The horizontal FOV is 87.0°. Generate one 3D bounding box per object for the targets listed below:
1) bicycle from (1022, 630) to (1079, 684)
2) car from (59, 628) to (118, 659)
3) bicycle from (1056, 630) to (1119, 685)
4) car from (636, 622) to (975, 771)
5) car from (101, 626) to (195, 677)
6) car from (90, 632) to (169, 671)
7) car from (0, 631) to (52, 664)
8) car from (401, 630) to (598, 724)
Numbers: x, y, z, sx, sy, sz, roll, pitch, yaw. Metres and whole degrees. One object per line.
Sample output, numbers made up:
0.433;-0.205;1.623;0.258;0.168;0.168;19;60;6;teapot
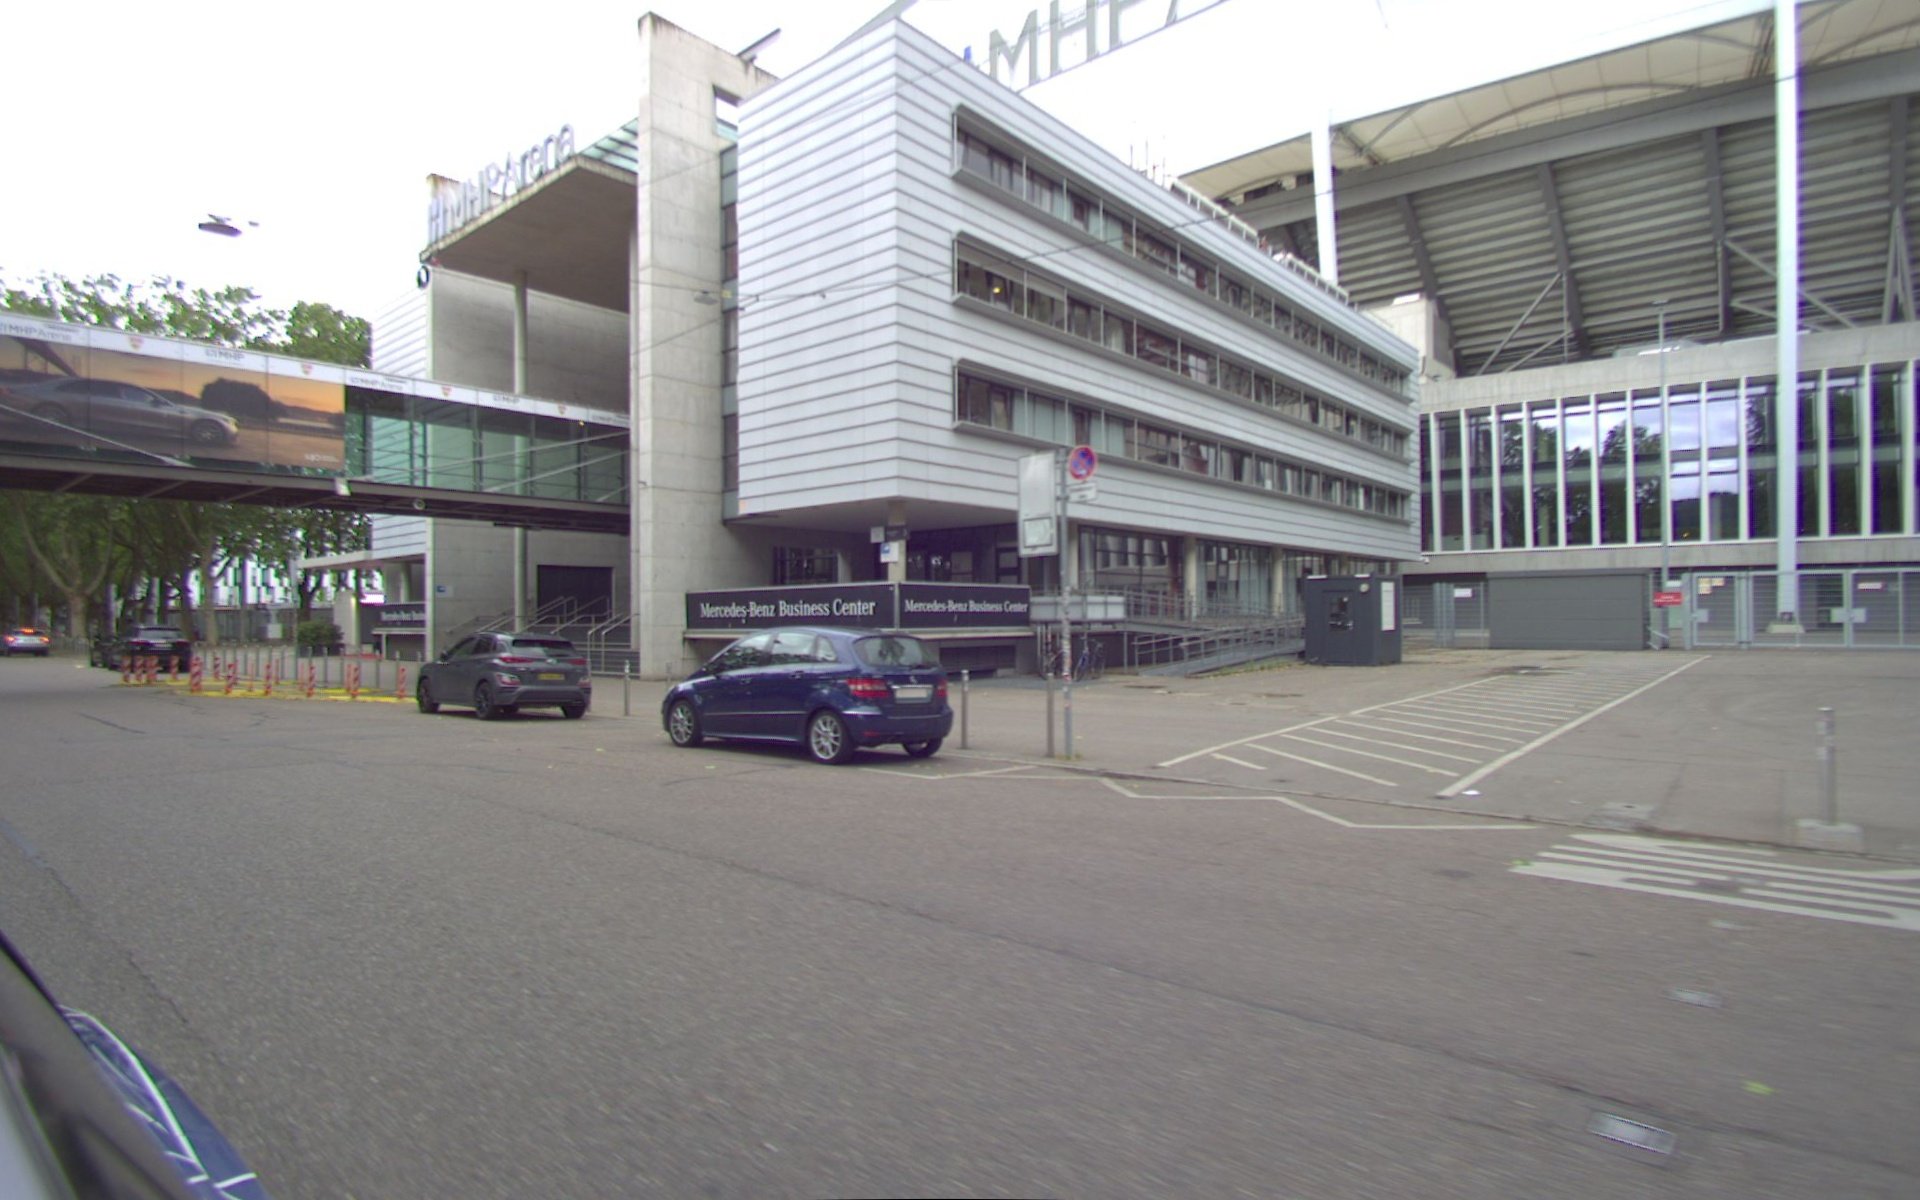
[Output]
2.236;1.375;24.771;0.470;1.196;1.808;-1;0;38;bicycle
-44.144;2.207;51.246;3.801;1.480;1.640;-1;-5;41;car
3.067;1.359;24.179;0.568;1.196;1.894;-1;0;38;bicycle
-2.071;1.126;12.819;4.384;1.578;1.736;-1;-6;40;car
-30.087;1.892;37.453;4.231;1.744;1.904;-1;-5;41;car
-33.860;2.082;41.238;4.143;1.480;1.758;-1;-5;41;car
-51.841;2.618;56.156;3.998;1.674;1.735;-1;0;41;car
-8.509;1.358;18.565;4.007;1.526;1.735;-1;-5;41;car
